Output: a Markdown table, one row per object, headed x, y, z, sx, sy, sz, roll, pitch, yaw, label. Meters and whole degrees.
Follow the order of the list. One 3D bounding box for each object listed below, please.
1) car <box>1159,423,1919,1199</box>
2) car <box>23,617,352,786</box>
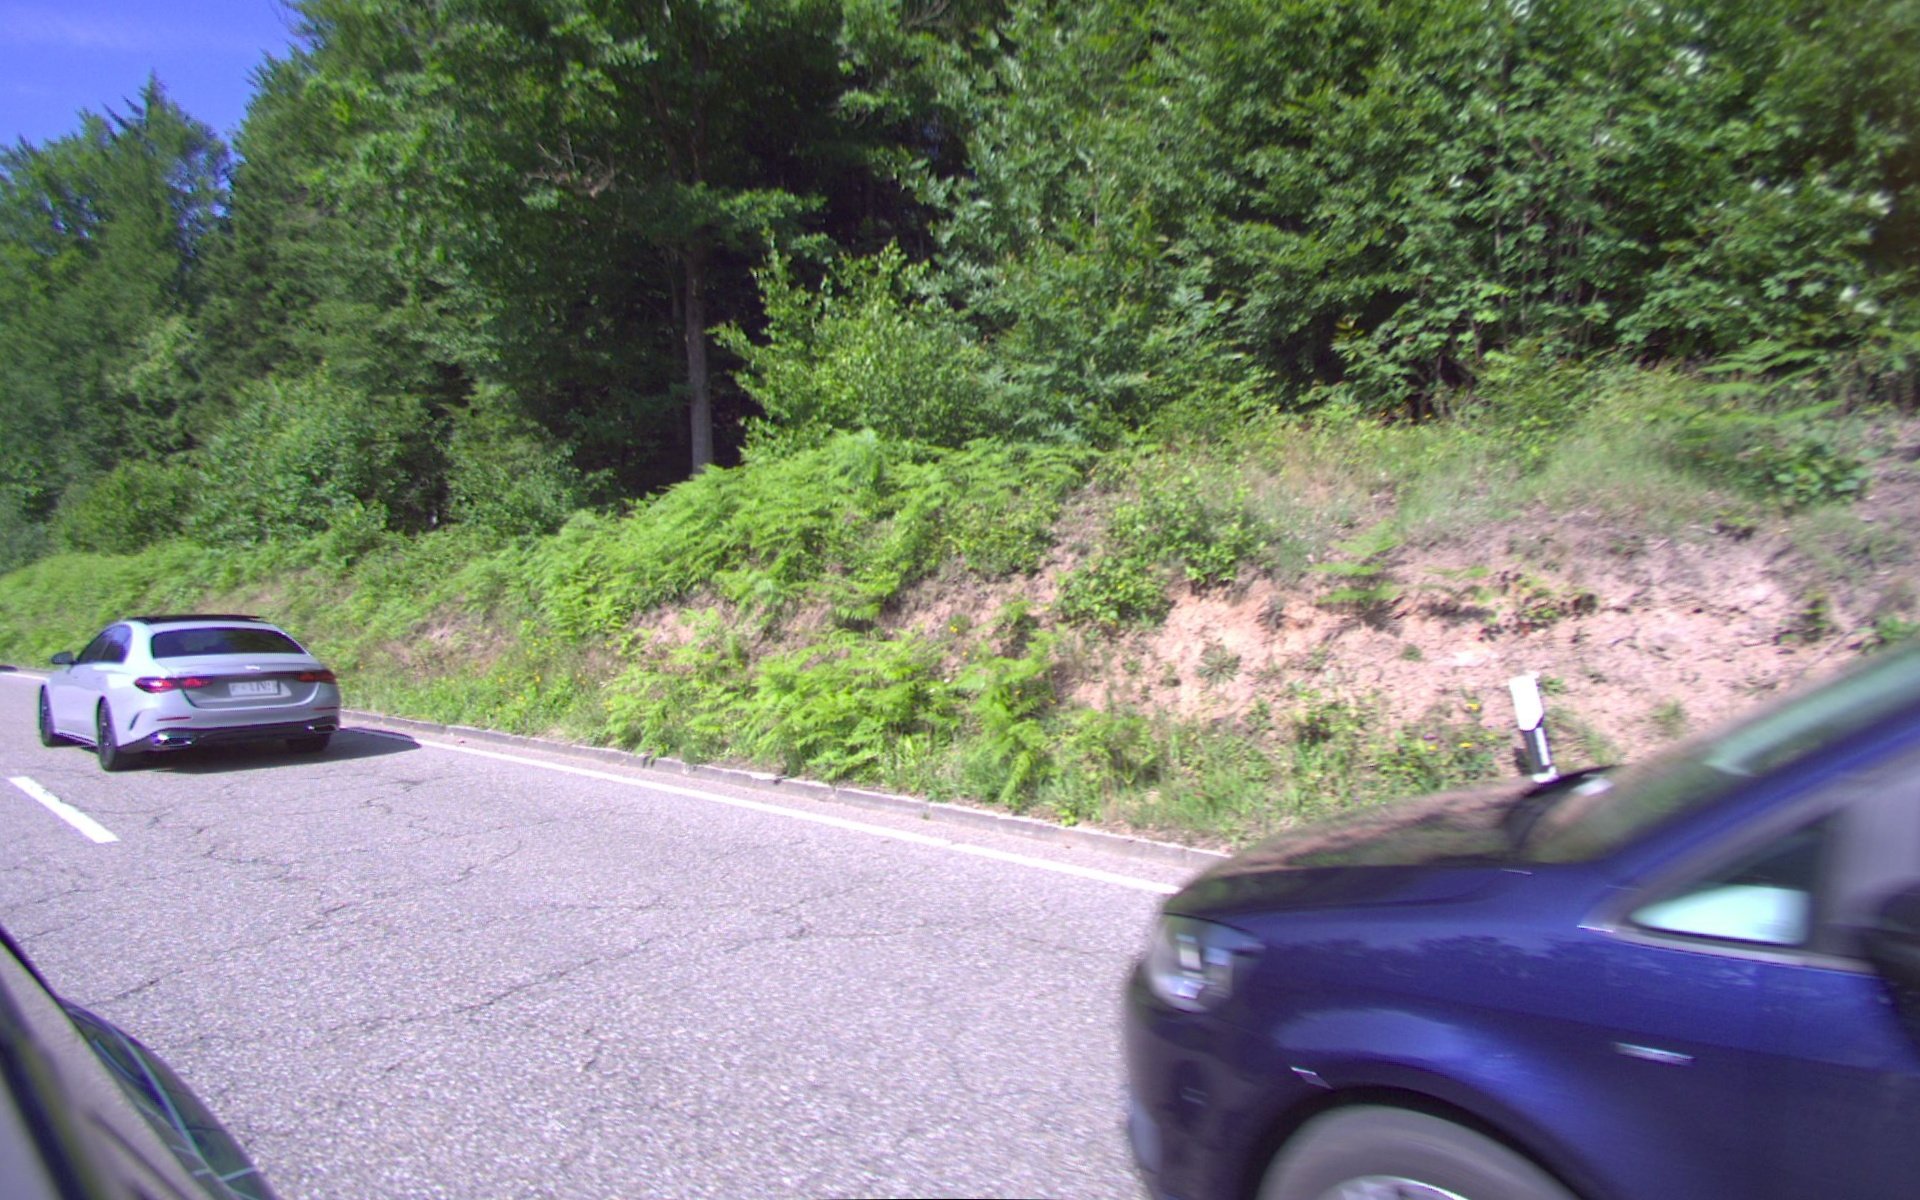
| x | y | z | sx | sy | sz | roll | pitch | yaw | label |
| --- | --- | --- | --- | --- | --- | --- | --- | --- | --- |
| 2.601 | 0.605 | 1.142 | 4.349 | 1.641 | 1.813 | -2 | -3 | 41 | car |
| -8.446 | 0.932 | 10.895 | 4.674 | 1.442 | 1.815 | -2 | -2 | 40 | car |
